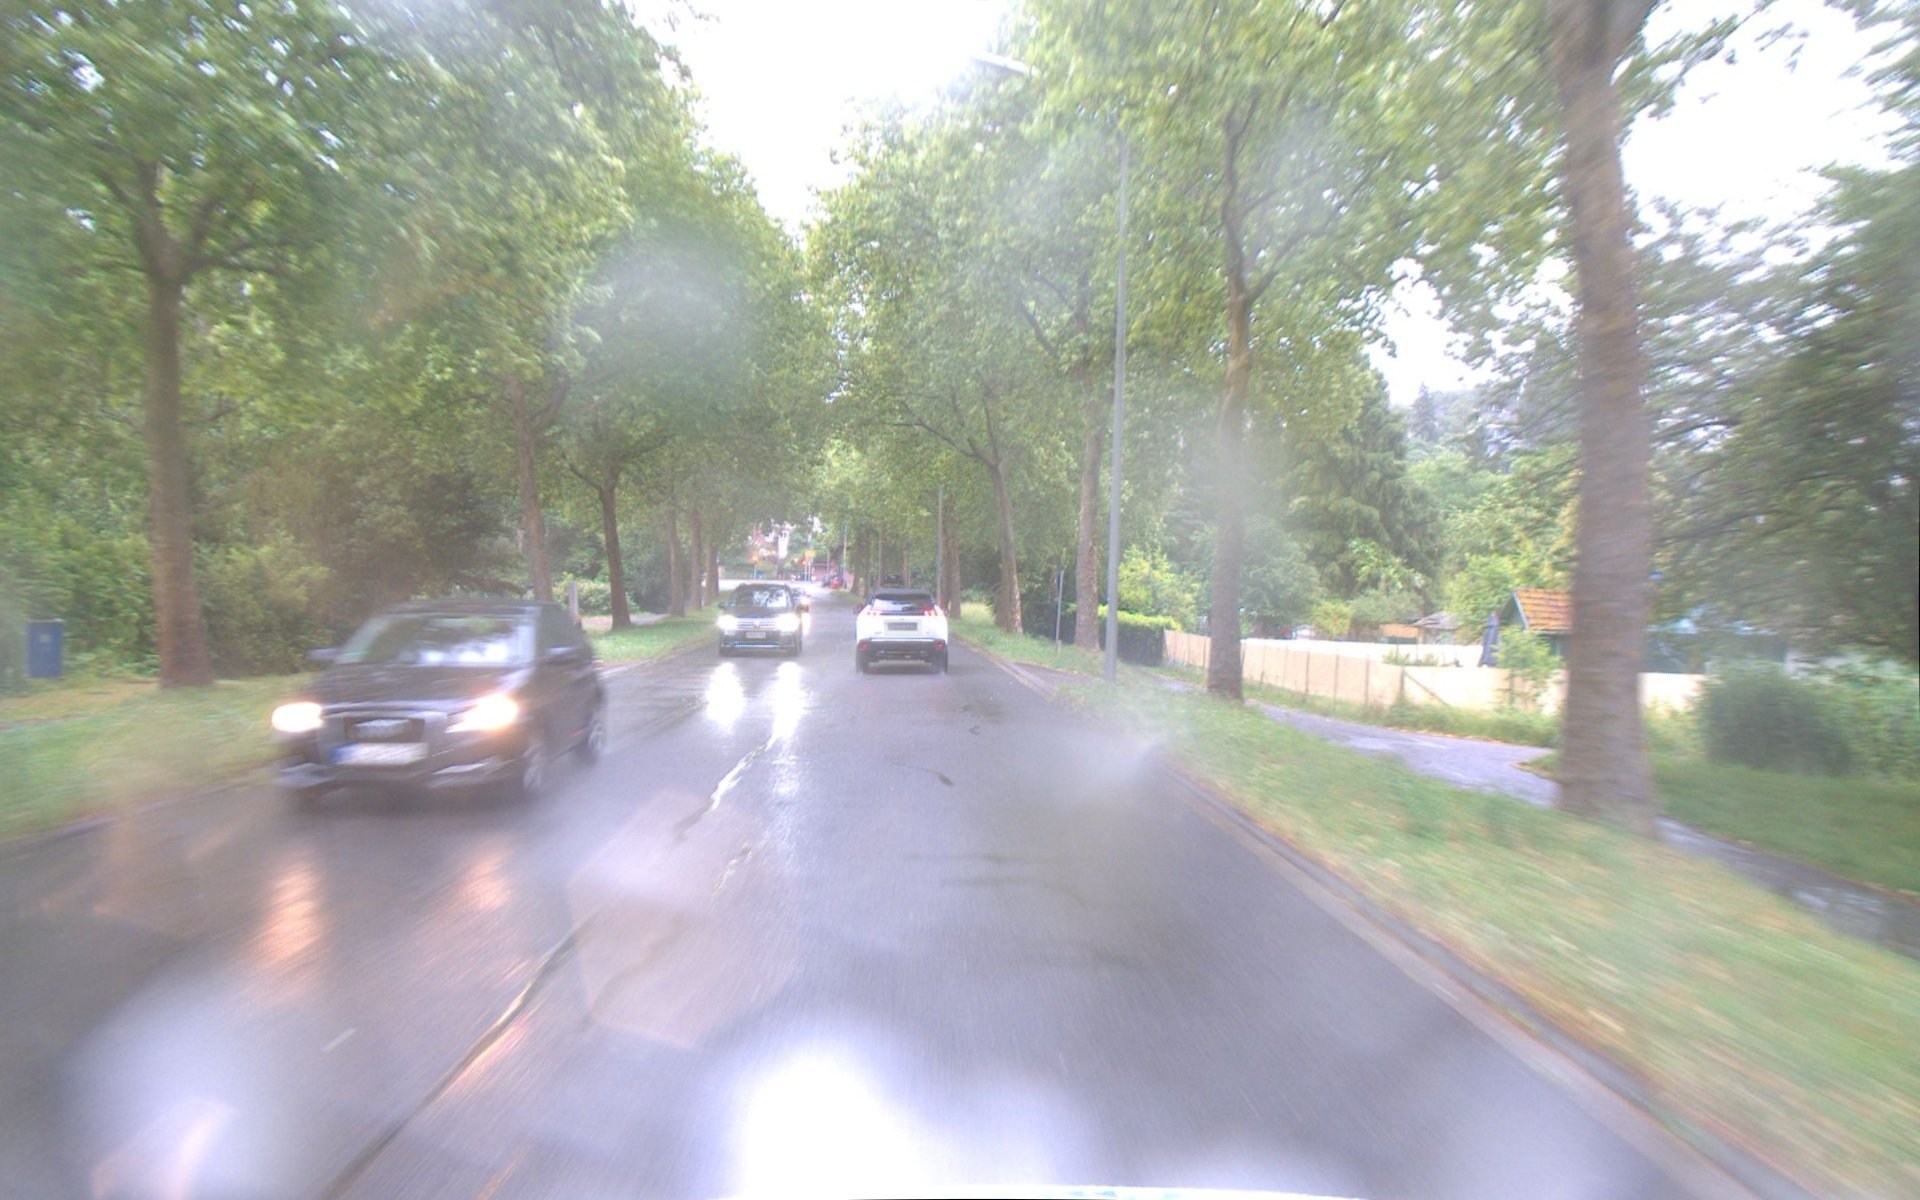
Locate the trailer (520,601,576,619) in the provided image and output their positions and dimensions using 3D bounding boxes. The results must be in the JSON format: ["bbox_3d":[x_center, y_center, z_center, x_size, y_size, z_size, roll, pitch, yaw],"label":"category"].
[{"bbox_3d":[-27.175,0.649,109.116,3.490,1.199,1.817,0,1,-12],"label":"trailer"}]

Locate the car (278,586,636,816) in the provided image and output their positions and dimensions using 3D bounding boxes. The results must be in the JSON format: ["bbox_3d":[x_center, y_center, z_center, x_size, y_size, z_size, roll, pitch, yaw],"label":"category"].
[{"bbox_3d":[-3.781,0.668,13.209,1.697,1.448,4.222,3,0,-3],"label":"car"}]

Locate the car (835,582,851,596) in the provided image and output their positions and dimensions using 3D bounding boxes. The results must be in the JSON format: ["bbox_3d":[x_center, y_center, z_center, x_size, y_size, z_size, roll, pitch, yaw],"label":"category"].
[{"bbox_3d":[-14.186,-1.374,201.097,1.790,1.624,3.652,1,0,-2],"label":"car"}]

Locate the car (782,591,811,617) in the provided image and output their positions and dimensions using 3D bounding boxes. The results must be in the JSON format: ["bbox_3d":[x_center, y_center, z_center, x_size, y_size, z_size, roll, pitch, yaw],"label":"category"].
[{"bbox_3d":[-10.058,0.223,101.468,1.674,1.512,3.876,1,0,-7],"label":"car"}]

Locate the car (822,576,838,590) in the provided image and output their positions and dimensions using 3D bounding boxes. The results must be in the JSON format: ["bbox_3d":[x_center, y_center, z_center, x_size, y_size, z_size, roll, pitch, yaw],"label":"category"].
[{"bbox_3d":[-16.530,-2.157,210.589,1.790,1.624,3.652,1,0,-2],"label":"car"}]

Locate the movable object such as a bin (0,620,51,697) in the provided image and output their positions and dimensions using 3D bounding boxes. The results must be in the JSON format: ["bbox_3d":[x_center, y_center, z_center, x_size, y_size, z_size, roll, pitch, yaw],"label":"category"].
[{"bbox_3d":[-18.521,1.135,32.354,0.944,1.447,0.965,1,0,-5],"label":"movable object such as a bin"}]

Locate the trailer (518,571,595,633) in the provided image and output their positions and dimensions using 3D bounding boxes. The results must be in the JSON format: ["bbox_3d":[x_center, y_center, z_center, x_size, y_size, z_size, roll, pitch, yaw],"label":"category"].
[{"bbox_3d":[-17.902,0.055,73.693,2.436,2.612,5.328,1,0,-4],"label":"trailer"}]

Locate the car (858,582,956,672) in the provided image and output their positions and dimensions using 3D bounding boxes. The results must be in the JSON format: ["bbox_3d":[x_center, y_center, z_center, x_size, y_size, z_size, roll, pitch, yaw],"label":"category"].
[{"bbox_3d":[-1.040,0.472,32.288,1.758,1.606,3.843,1,1,-2],"label":"car"}]

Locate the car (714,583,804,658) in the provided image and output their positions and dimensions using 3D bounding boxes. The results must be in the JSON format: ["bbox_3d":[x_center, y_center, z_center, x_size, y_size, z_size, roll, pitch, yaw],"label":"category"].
[{"bbox_3d":[-4.681,0.445,38.934,1.696,1.616,4.309,1,0,-2],"label":"car"}]
